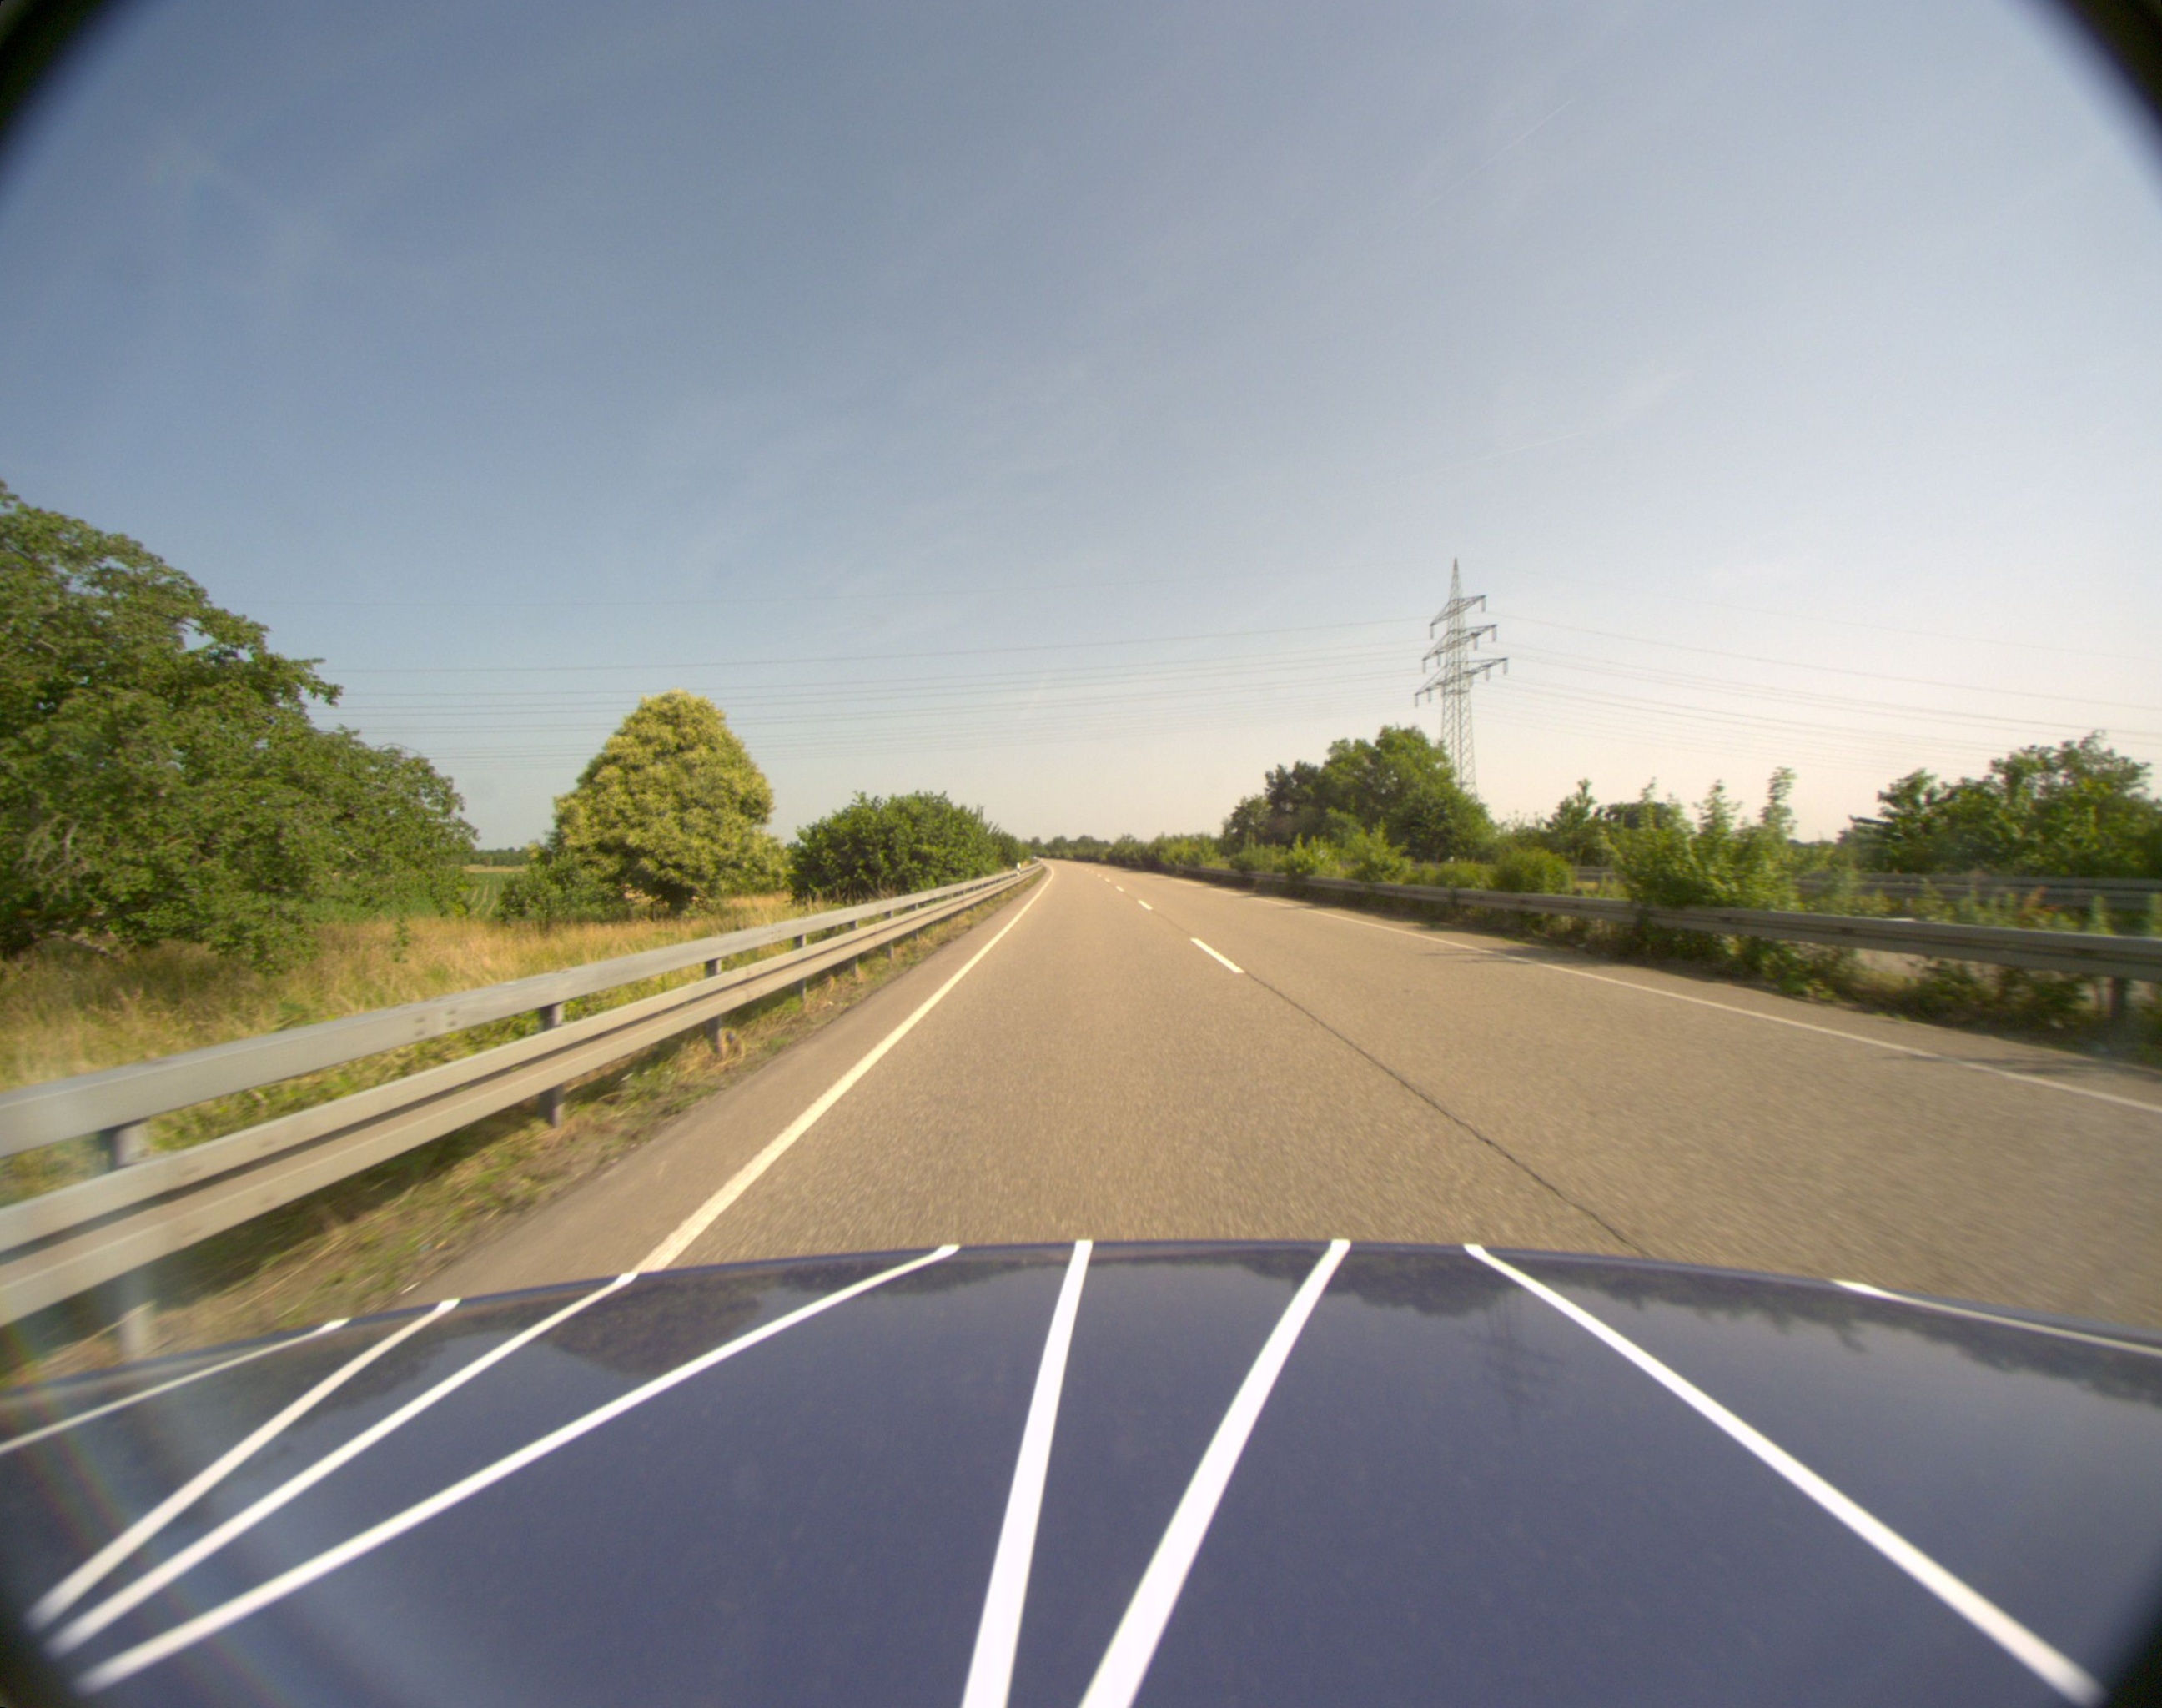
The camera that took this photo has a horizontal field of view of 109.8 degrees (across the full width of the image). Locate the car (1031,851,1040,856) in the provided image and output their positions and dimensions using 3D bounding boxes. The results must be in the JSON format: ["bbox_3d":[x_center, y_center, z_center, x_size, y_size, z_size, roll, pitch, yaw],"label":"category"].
[{"bbox_3d":[-13.563,-0.220,226.643,1.705,1.474,3.595,-2,0,-18],"label":"car"}]
